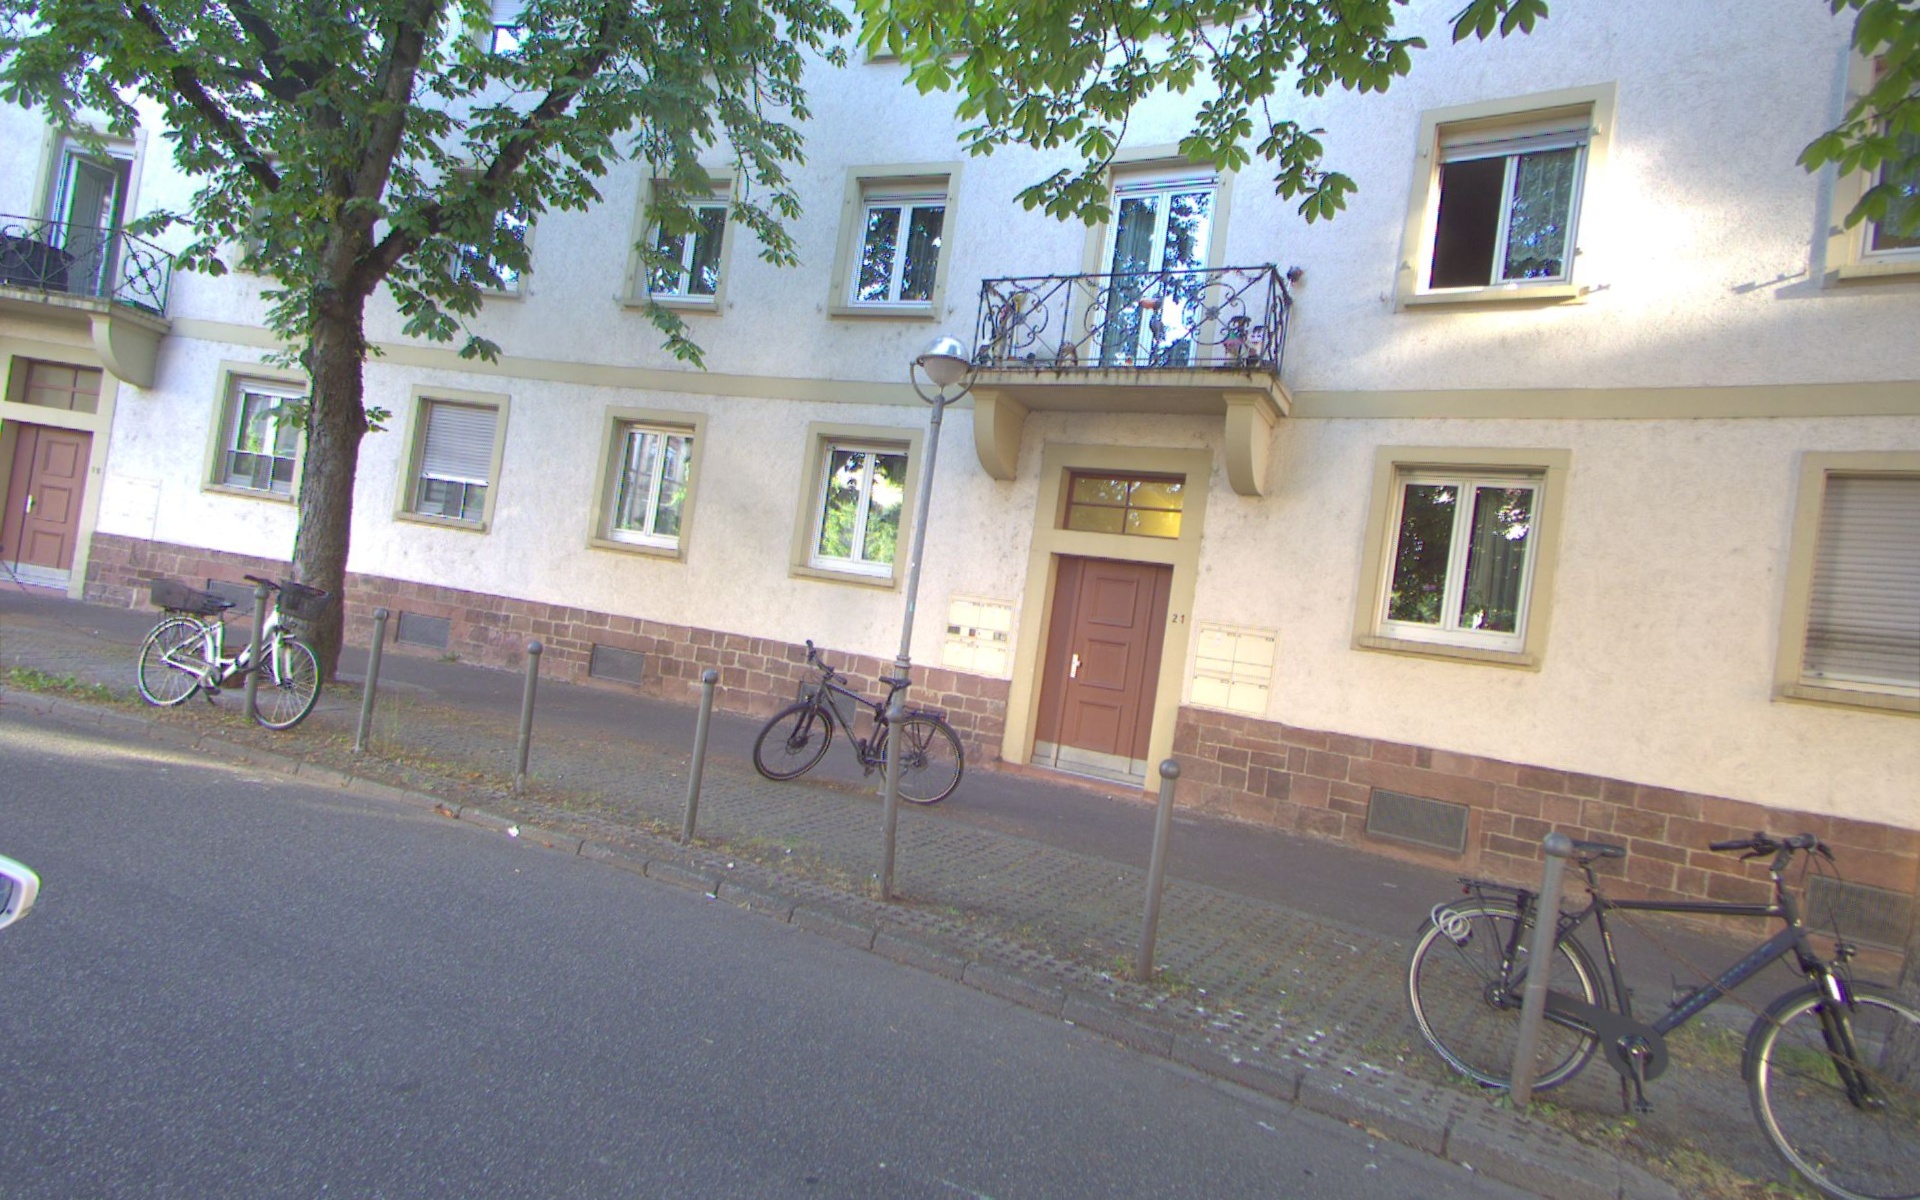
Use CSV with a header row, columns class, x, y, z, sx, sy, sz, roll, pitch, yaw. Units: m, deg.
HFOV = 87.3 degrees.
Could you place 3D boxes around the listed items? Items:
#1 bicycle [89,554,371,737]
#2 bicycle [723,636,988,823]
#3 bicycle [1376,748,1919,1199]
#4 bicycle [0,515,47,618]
class,x,y,z,sx,sy,sz,roll,pitch,yaw
bicycle,-5.651,0.334,7.795,1.936,1.109,0.514,8,0,12
bicycle,-0.793,0.990,8.005,1.823,1.131,0.804,8,-1,8
bicycle,2.630,1.329,3.645,1.881,1.237,0.719,7,-1,29
bicycle,-11.703,-0.505,11.577,1.929,1.120,0.670,8,-2,13
